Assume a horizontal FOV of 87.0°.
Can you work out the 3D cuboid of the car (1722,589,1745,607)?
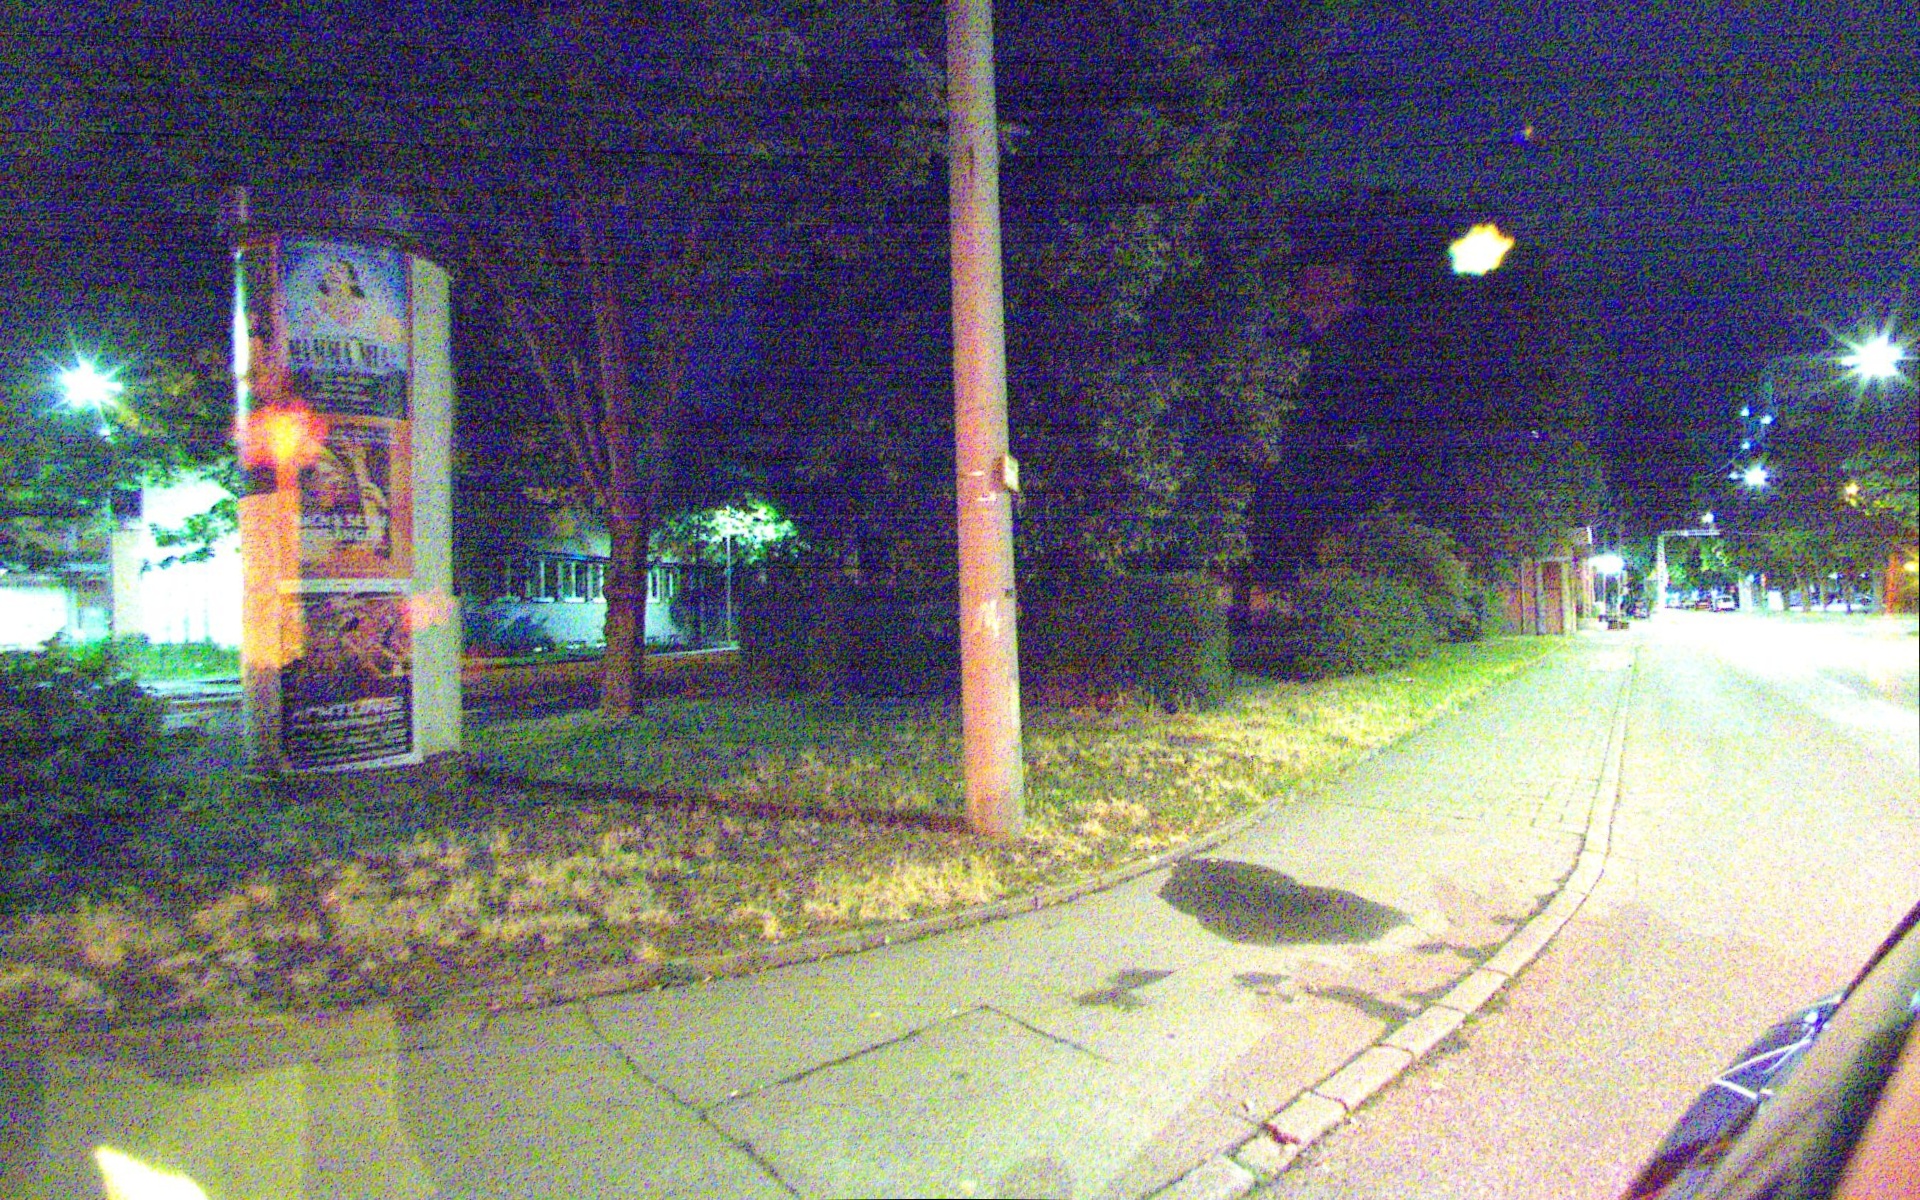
[{"bbox_3d":[89.135,-0.232,116.625,1.871,1.832,3.684,-5,-3,35],"label":"car"}]

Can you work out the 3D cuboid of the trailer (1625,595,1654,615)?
[{"bbox_3d":[54.449,0.381,81.095,1.597,1.514,3.682,-3,-2,38],"label":"trailer"}]

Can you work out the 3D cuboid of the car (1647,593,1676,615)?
[{"bbox_3d":[50.516,0.286,72.846,1.582,1.480,3.747,-3,-1,36],"label":"car"}]

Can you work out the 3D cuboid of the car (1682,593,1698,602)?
[{"bbox_3d":[121.251,-0.444,168.118,1.813,1.450,3.688,-5,-3,32],"label":"car"}]

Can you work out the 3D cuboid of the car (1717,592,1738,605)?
[{"bbox_3d":[92.285,-0.173,121.704,1.815,1.450,3.684,-5,-3,35],"label":"car"}]

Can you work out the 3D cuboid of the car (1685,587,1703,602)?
[{"bbox_3d":[128.506,-0.974,177.265,1.990,2.540,4.897,-5,-3,32],"label":"car"}]

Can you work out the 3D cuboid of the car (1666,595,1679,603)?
[{"bbox_3d":[141.644,-0.291,201.071,1.813,1.450,3.688,-5,-3,32],"label":"car"}]

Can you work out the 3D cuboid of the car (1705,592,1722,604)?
[{"bbox_3d":[104.183,-0.245,139.964,1.816,1.668,3.684,-1,0,35],"label":"car"}]
